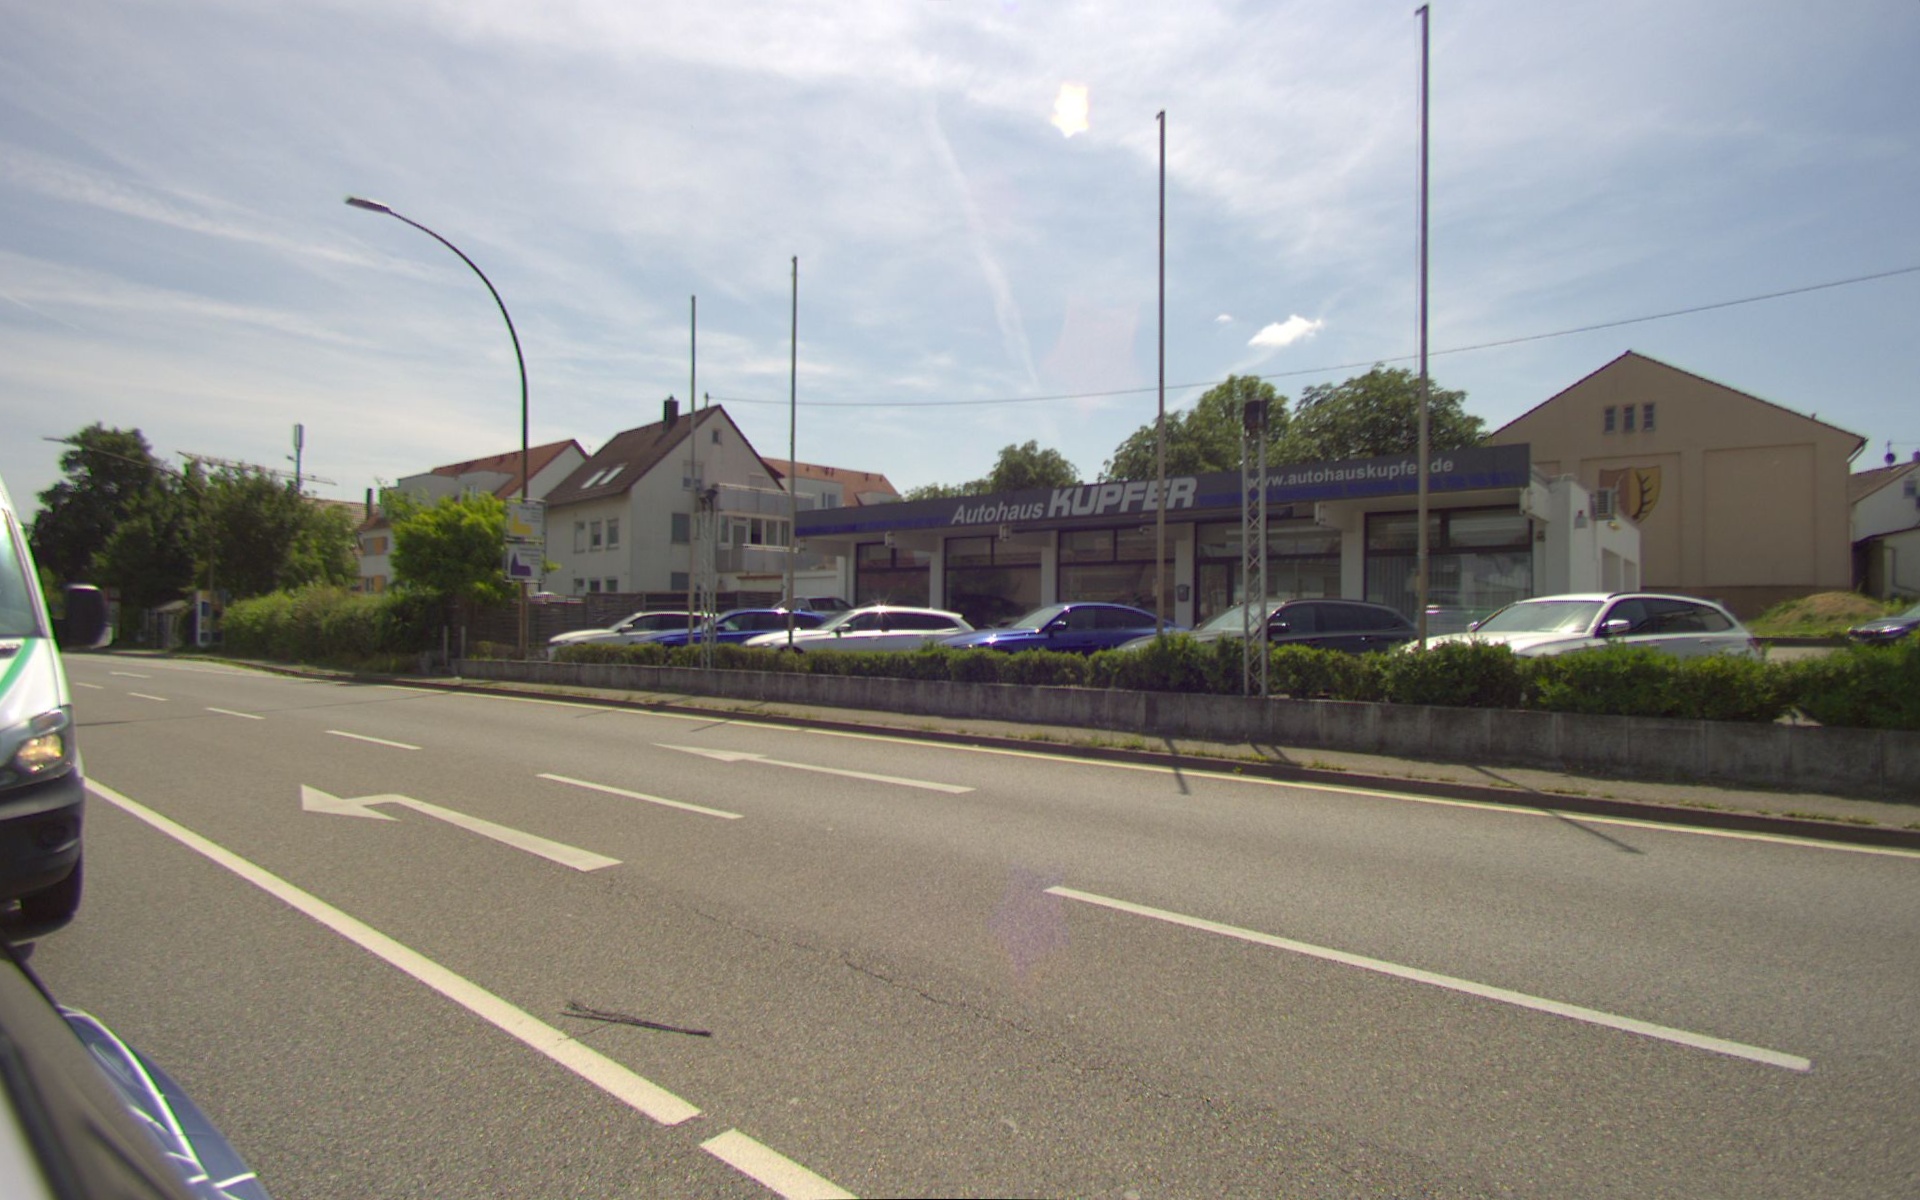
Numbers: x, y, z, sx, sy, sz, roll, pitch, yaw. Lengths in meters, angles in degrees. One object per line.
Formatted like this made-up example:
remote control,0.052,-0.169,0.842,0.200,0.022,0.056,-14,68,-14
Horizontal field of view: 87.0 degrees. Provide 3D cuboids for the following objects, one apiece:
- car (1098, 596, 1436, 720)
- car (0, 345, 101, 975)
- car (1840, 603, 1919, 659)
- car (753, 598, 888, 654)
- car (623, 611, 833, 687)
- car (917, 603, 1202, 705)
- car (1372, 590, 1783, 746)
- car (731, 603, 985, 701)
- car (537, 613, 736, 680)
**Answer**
car,4.257,0.696,14.006,4.267,1.458,1.905,-1,0,-24
car,-6.480,0.290,5.466,5.745,2.548,1.915,-1,-1,40
car,24.000,0.679,24.361,3.946,1.231,1.791,-2,0,2
car,-4.206,0.748,29.862,1.781,1.475,4.589,-1,0,-40
car,-5.123,1.024,22.304,4.267,1.458,1.863,-1,0,-21
car,1.627,0.810,16.677,4.267,1.458,1.863,-1,0,-21
car,6.967,0.636,11.404,4.267,1.458,1.863,-1,0,-24
car,-1.969,0.914,19.313,4.438,1.458,1.863,-3,1,-19
car,-7.951,1.091,24.956,4.501,1.458,1.863,-1,0,-21
